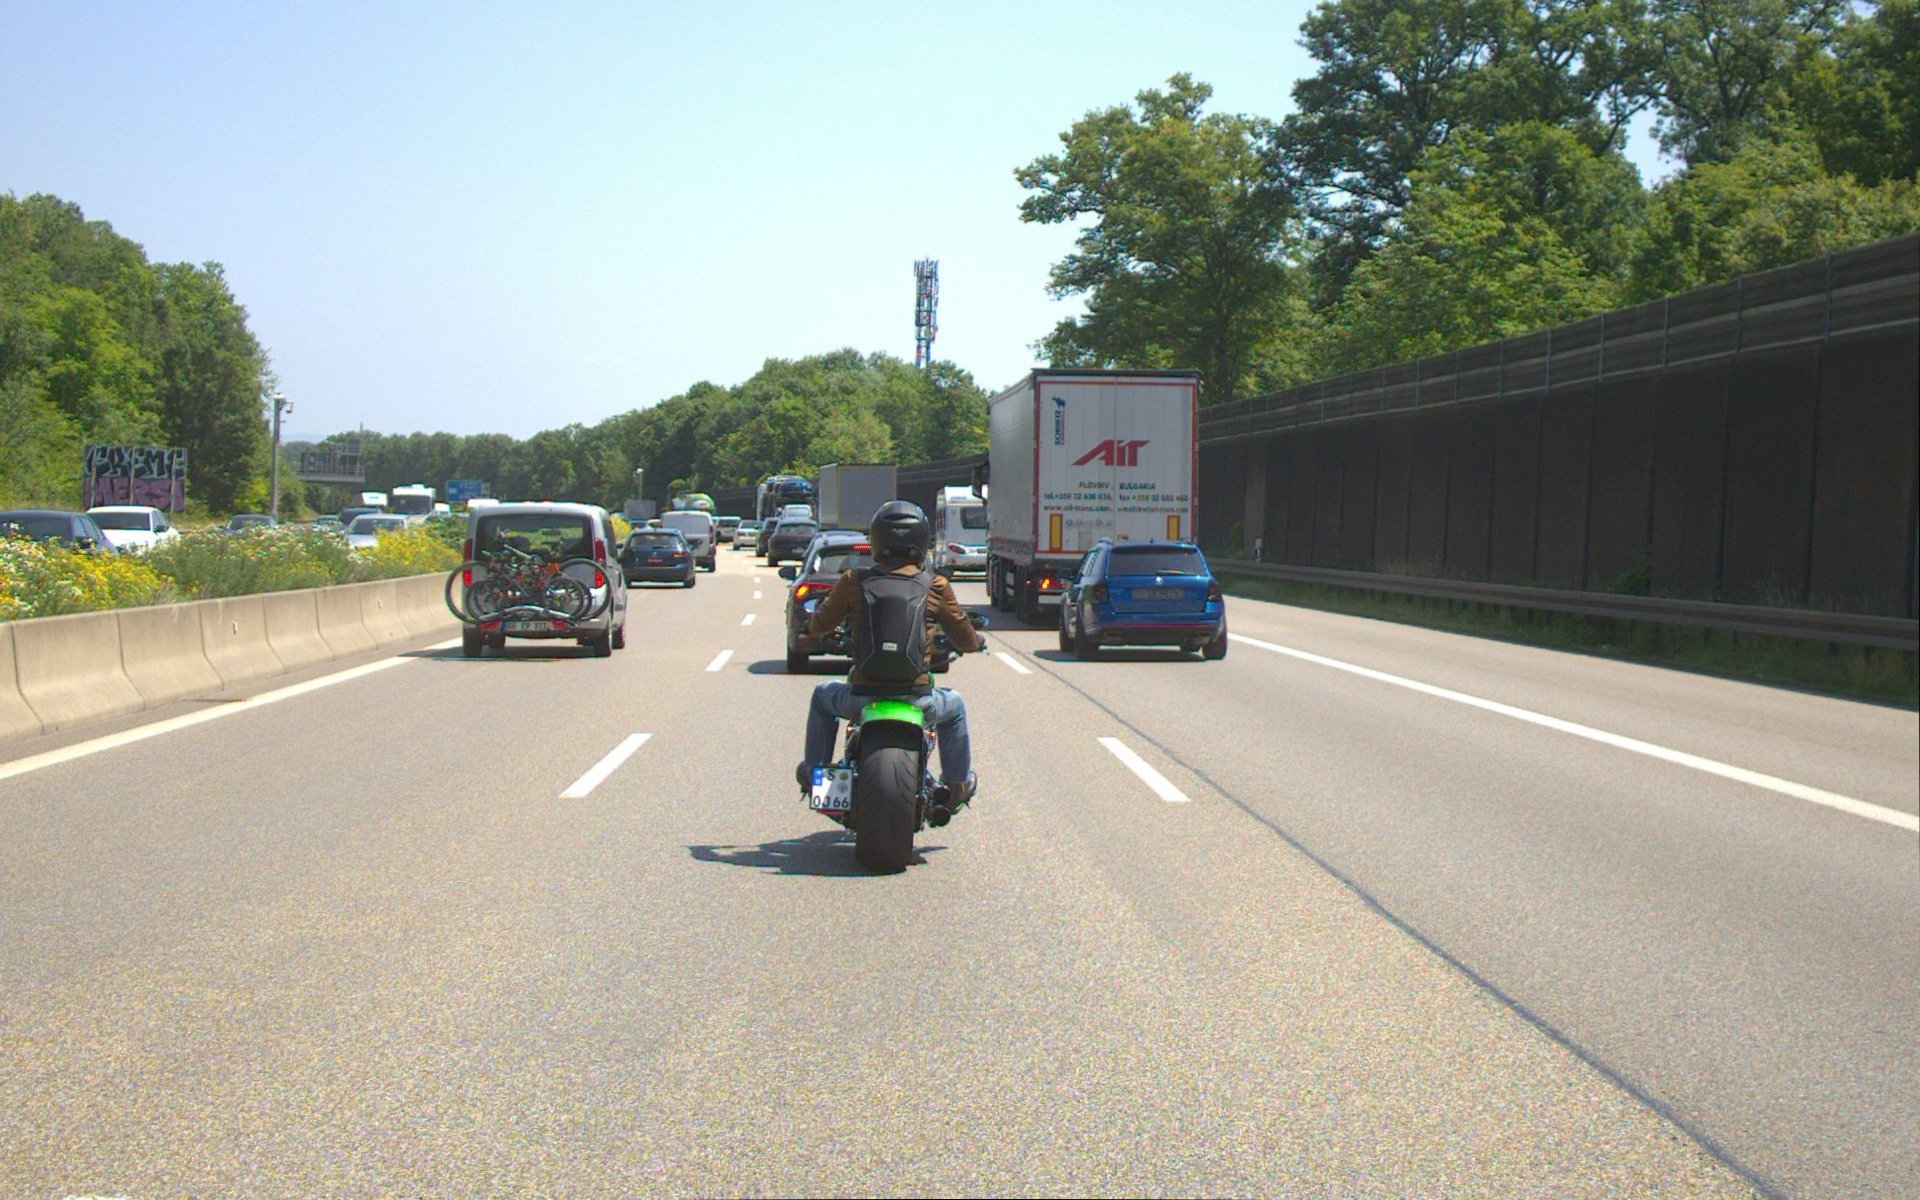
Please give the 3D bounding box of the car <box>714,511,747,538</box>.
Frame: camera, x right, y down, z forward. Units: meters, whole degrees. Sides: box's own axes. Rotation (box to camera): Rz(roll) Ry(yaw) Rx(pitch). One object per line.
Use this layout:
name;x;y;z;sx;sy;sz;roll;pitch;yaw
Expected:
car;-13.116;-4.320;196.682;1.832;1.491;3.744;0;0;-3

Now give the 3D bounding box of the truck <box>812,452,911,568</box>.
truck;-4.423;-3.921;152.637;3.802;4.943;8.952;0;0;-5

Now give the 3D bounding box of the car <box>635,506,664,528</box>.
car;-22.390;-5.973;247.790;1.832;1.491;3.744;0;0;-8

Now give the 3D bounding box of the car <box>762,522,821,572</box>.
car;-5.792;-1.809;118.186;1.993;1.634;4.000;0;0;-3

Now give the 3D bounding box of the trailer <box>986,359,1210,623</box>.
trailer;2.163;-1.815;59.570;2.885;4.024;13.796;0;1;-2

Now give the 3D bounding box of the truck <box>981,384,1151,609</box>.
truck;1.980;-1.979;66.456;2.885;4.132;5.986;0;1;-2

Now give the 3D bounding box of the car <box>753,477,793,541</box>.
car;-11.787;-5.709;216.005;2.133;3.848;8.144;1;1;-6

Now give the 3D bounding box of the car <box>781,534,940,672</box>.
car;-1.105;0.026;38.093;1.662;1.448;3.869;0;0;-2

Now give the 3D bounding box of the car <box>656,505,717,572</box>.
car;-8.431;-1.896;106.273;1.791;2.007;3.642;0;0;-3

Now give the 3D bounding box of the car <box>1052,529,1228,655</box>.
car;2.178;-0.104;42.633;1.650;1.477;4.482;0;0;-4

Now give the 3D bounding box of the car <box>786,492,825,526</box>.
car;-9.039;-5.311;200.846;2.107;1.870;4.001;0;0;-5

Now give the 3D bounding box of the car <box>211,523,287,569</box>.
car;-23.389;-1.753;113.185;1.788;1.451;4.000;0;0;-2

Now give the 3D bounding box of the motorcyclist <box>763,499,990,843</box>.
motorcyclist;-0.349;0.302;15.682;0.900;1.470;1.872;0;0;3

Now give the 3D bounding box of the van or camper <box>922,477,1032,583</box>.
van or camper;0.417;-1.878;95.222;2.685;2.803;6.803;0;0;-2

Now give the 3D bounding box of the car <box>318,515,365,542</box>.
car;-32.791;-3.806;182.308;1.993;1.427;4.192;0;1;-4

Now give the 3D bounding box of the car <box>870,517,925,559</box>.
car;-2.486;-2.448;136.614;1.993;1.568;4.000;0;0;-4

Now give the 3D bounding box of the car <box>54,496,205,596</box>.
car;-17.207;-1.096;71.460;1.993;2.007;4.567;0;0;0

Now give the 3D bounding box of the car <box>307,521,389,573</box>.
car;-19.382;-1.670;108.982;1.993;1.585;4.163;0;0;-2

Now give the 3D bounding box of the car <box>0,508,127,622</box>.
car;-12.654;-0.495;46.495;1.808;1.481;3.856;1;1;0

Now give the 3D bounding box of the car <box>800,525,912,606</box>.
car;-1.934;-0.621;63.368;1.993;1.425;3.847;0;0;-2

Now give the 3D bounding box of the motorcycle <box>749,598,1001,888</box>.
motorcycle;-0.345;0.601;15.910;0.964;1.144;2.811;1;1;2

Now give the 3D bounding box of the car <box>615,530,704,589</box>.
car;-7.263;-0.958;83.317;1.993;1.382;4.000;0;0;-3

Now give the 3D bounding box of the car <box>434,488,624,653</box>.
car;-5.137;-0.339;41.440;1.899;1.867;4.413;0;0;-2

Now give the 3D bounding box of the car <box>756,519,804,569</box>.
car;-7.566;-2.337;144.110;1.911;2.007;3.691;0;0;-4

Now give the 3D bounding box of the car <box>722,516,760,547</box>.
car;-10.807;-3.369;169.474;1.832;1.491;3.744;0;0;-3

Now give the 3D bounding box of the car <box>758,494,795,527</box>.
car;-11.044;-5.344;206.459;2.107;1.870;4.001;0;0;-5
